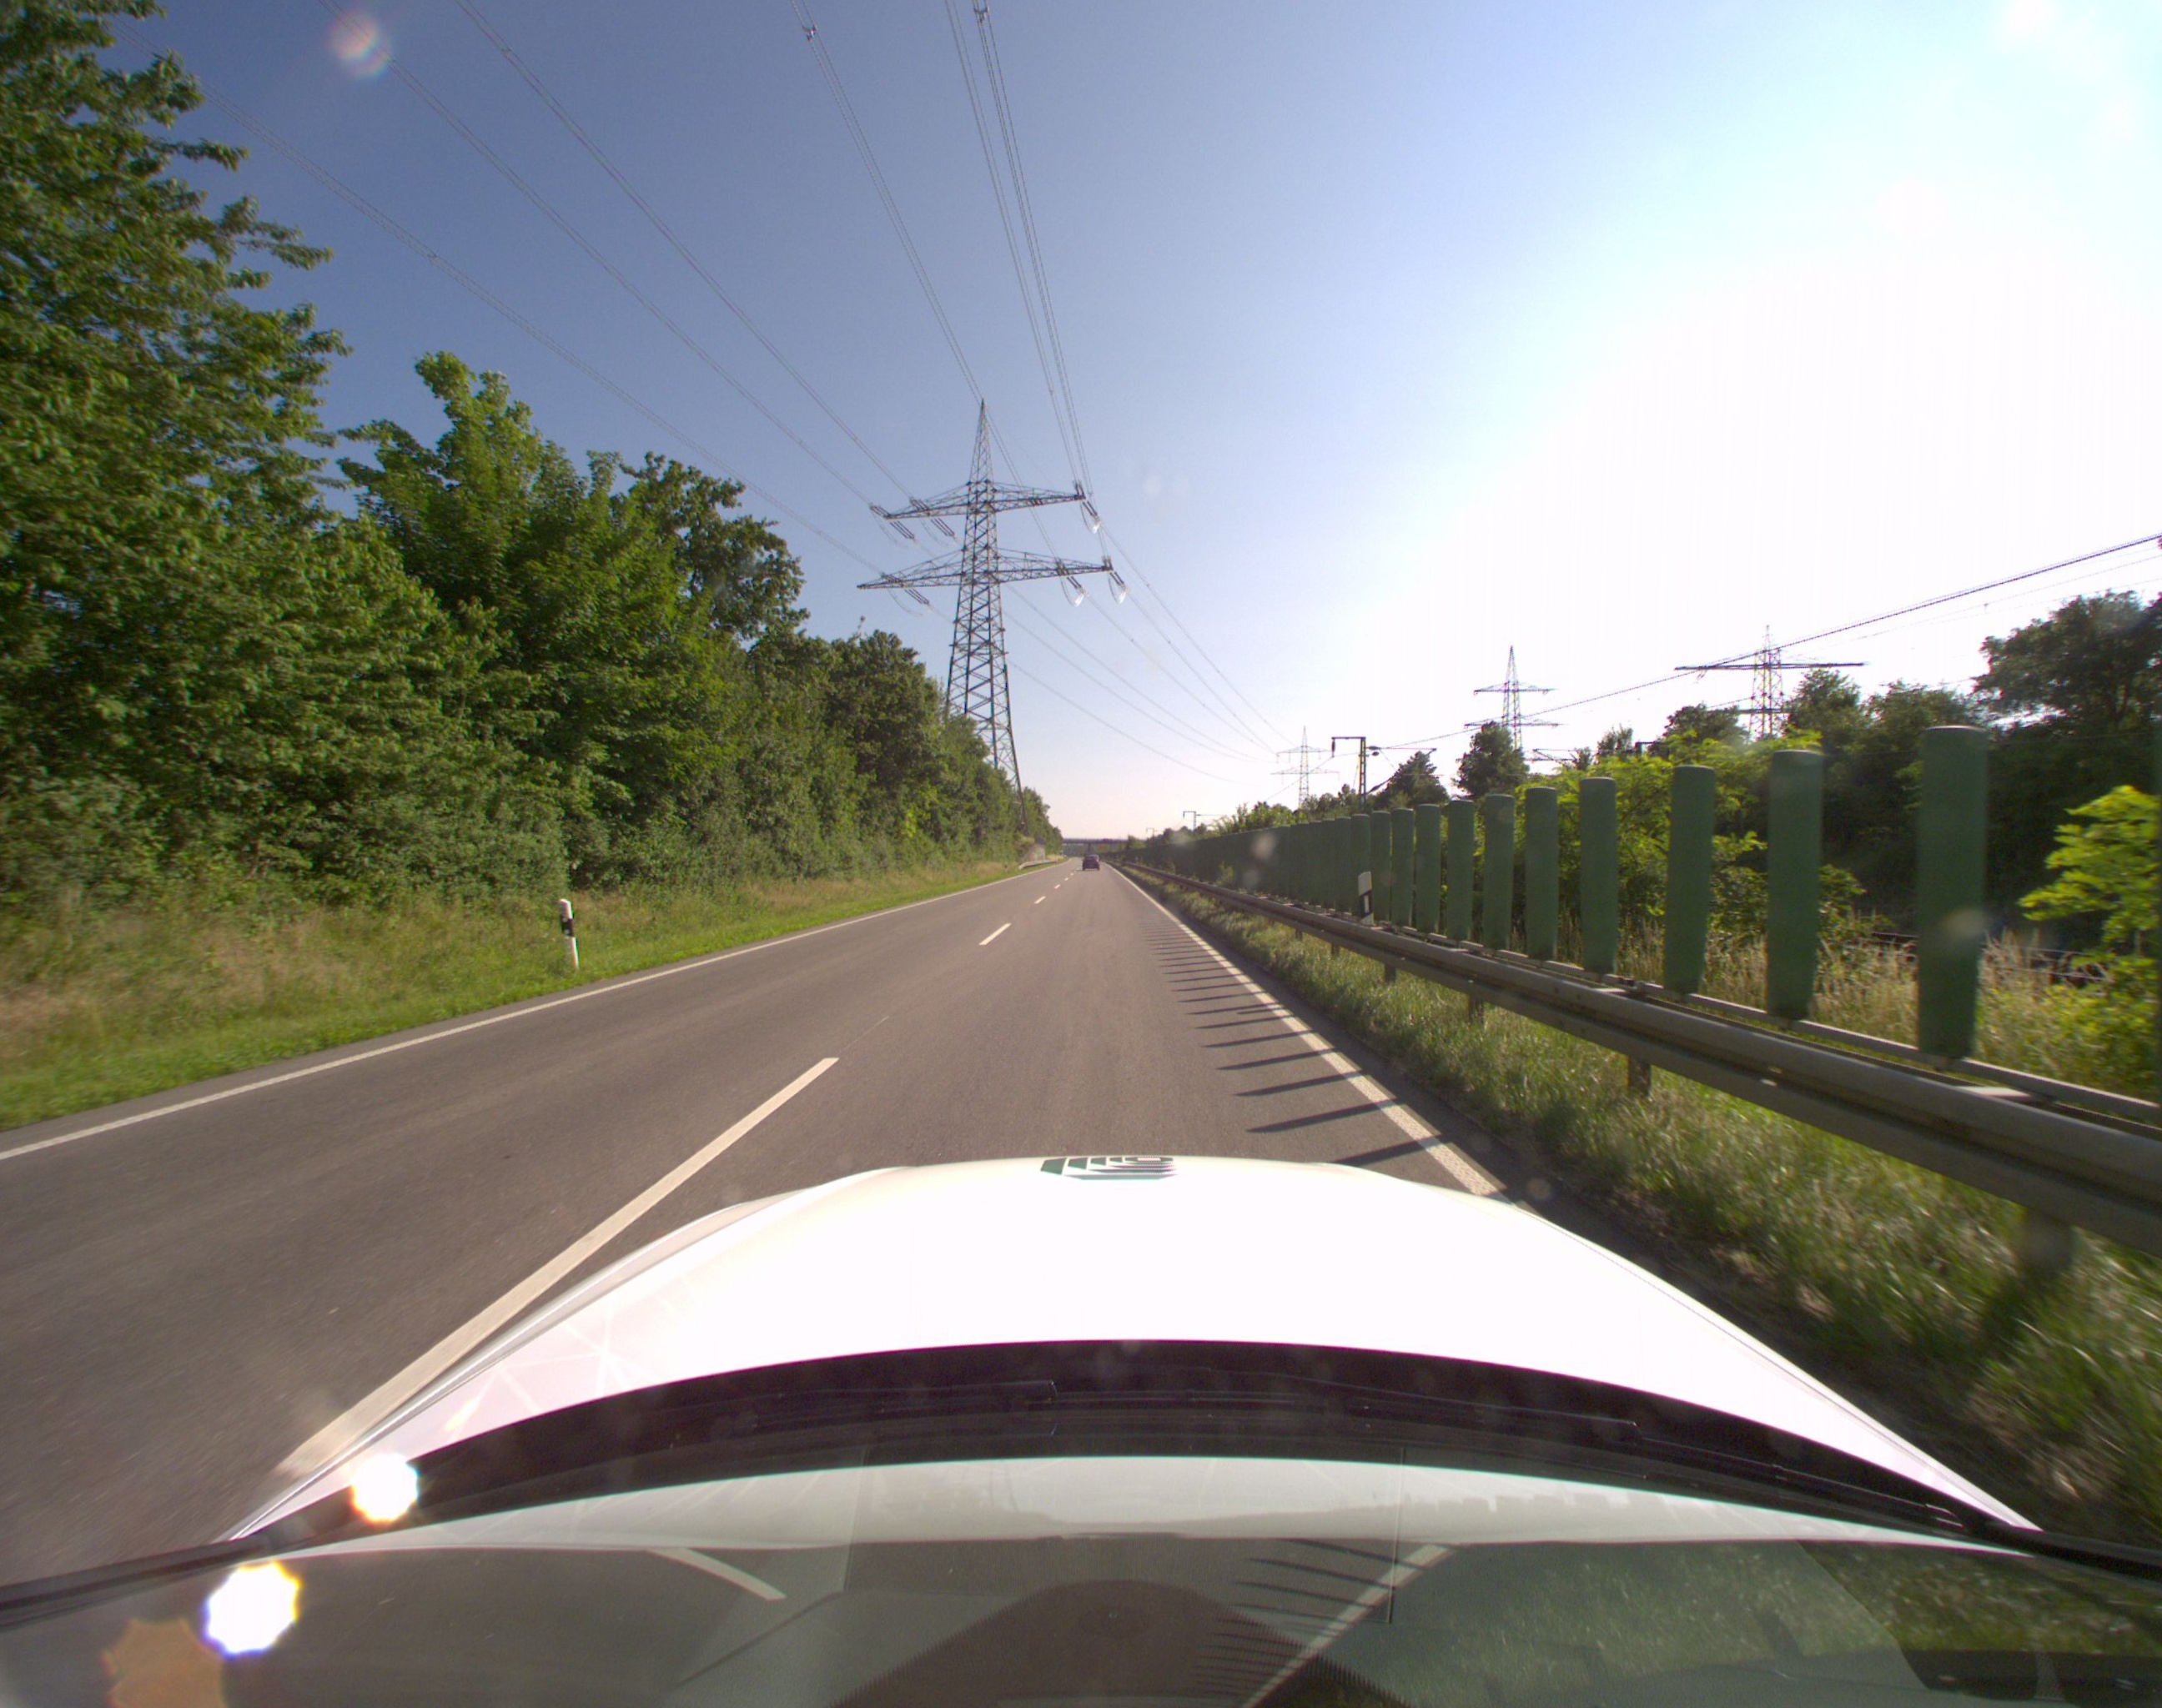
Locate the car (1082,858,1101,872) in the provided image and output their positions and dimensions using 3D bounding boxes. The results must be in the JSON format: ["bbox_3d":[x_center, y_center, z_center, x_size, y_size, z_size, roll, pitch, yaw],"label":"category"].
[{"bbox_3d":[1.003,1.081,79.087,1.659,1.261,3.997,0,-1,-2],"label":"car"}]
